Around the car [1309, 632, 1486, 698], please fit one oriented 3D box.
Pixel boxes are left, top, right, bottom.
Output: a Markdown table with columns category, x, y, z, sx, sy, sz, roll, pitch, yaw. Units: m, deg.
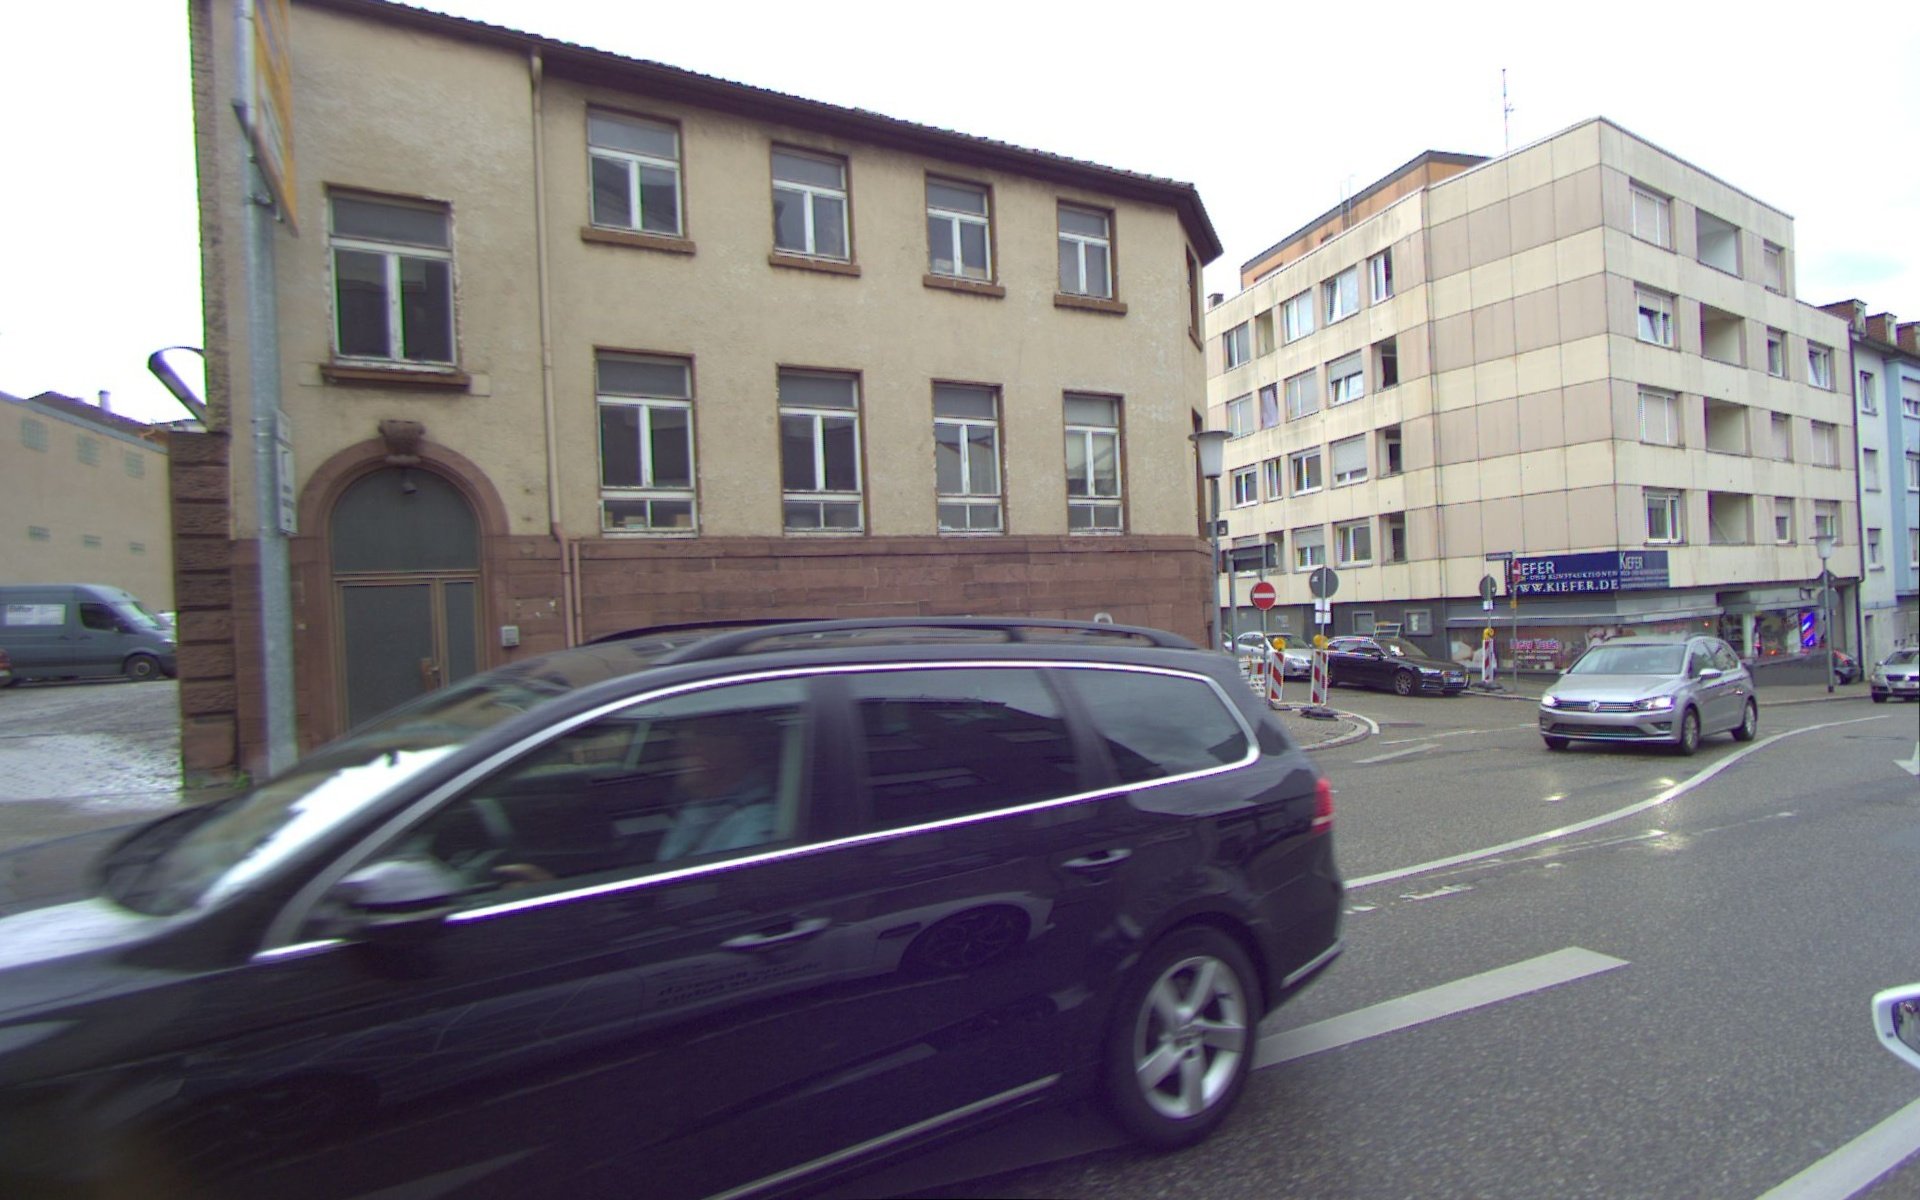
| category | x | y | z | sx | sy | sz | roll | pitch | yaw |
| --- | --- | --- | --- | --- | --- | --- | --- | --- | --- |
| car | 11.658 | 1.690 | 27.083 | 1.870 | 1.532 | 4.325 | 1 | -1 | -22 |

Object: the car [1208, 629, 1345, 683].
| category | x | y | z | sx | sy | sz | roll | pitch | yaw |
| --- | --- | --- | --- | --- | --- | --- | --- | --- | --- |
| car | 10.012 | 1.747 | 32.131 | 1.870 | 1.532 | 4.325 | 1 | -1 | -22 |

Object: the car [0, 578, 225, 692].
| category | x | y | z | sx | sy | sz | roll | pitch | yaw |
| --- | --- | --- | --- | --- | --- | --- | --- | --- | --- |
| car | -22.719 | 0.895 | 25.884 | 5.539 | 2.593 | 2.126 | -4 | 1 | -17 |

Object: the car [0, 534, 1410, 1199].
| category | x | y | z | sx | sy | sz | roll | pitch | yaw |
| --- | --- | --- | --- | --- | --- | --- | --- | --- | --- |
| car | -0.727 | 0.767 | 2.891 | 4.326 | 1.535 | 1.712 | 2 | -4 | -35 |

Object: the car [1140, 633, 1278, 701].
| category | x | y | z | sx | sy | sz | roll | pitch | yaw |
| --- | --- | --- | --- | --- | --- | --- | --- | --- | --- |
| car | 6.626 | 1.735 | 27.171 | 1.702 | 1.531 | 3.983 | -2 | 0 | -19 |

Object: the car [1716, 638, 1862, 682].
| category | x | y | z | sx | sy | sz | roll | pitch | yaw |
| --- | --- | --- | --- | --- | --- | --- | --- | --- | --- |
| car | 31.347 | 2.249 | 38.072 | 1.781 | 1.519 | 3.962 | 3 | -2 | -34 |

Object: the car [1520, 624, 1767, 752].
| category | x | y | z | sx | sy | sz | roll | pitch | yaw |
| --- | --- | --- | --- | --- | --- | --- | --- | --- | --- |
| car | 9.965 | 1.238 | 14.552 | 4.106 | 1.606 | 1.703 | 3 | -5 | -37 |

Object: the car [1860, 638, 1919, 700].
| category | x | y | z | sx | sy | sz | roll | pitch | yaw |
| --- | --- | --- | --- | --- | --- | --- | --- | --- | --- |
| car | 26.093 | 1.857 | 27.058 | 4.597 | 1.558 | 1.734 | 3 | -5 | -35 |

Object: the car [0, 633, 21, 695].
| category | x | y | z | sx | sy | sz | roll | pitch | yaw |
| --- | --- | --- | --- | --- | --- | --- | --- | --- | --- |
| car | -21.782 | 1.457 | 20.971 | 2.800 | 1.292 | 1.317 | -4 | 1 | -18 |

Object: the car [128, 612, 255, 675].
| category | x | y | z | sx | sy | sz | roll | pitch | yaw |
| --- | --- | --- | --- | --- | --- | --- | --- | --- | --- |
| car | -24.197 | 1.336 | 31.708 | 2.800 | 1.761 | 1.317 | -4 | 1 | -18 |

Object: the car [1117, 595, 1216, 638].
| category | x | y | z | sx | sy | sz | roll | pitch | yaw |
| --- | --- | --- | --- | --- | --- | --- | --- | --- | --- |
| car | 7.817 | 0.630 | 38.459 | 1.867 | 1.532 | 4.331 | 1 | -1 | -17 |

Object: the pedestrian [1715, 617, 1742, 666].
| category | x | y | z | sx | sy | sz | roll | pitch | yaw |
| --- | --- | --- | --- | --- | --- | --- | --- | --- | --- |
| pedestrian | 28.505 | 1.531 | 37.268 | 0.566 | 1.753 | 0.595 | -4 | 1 | -36 |
